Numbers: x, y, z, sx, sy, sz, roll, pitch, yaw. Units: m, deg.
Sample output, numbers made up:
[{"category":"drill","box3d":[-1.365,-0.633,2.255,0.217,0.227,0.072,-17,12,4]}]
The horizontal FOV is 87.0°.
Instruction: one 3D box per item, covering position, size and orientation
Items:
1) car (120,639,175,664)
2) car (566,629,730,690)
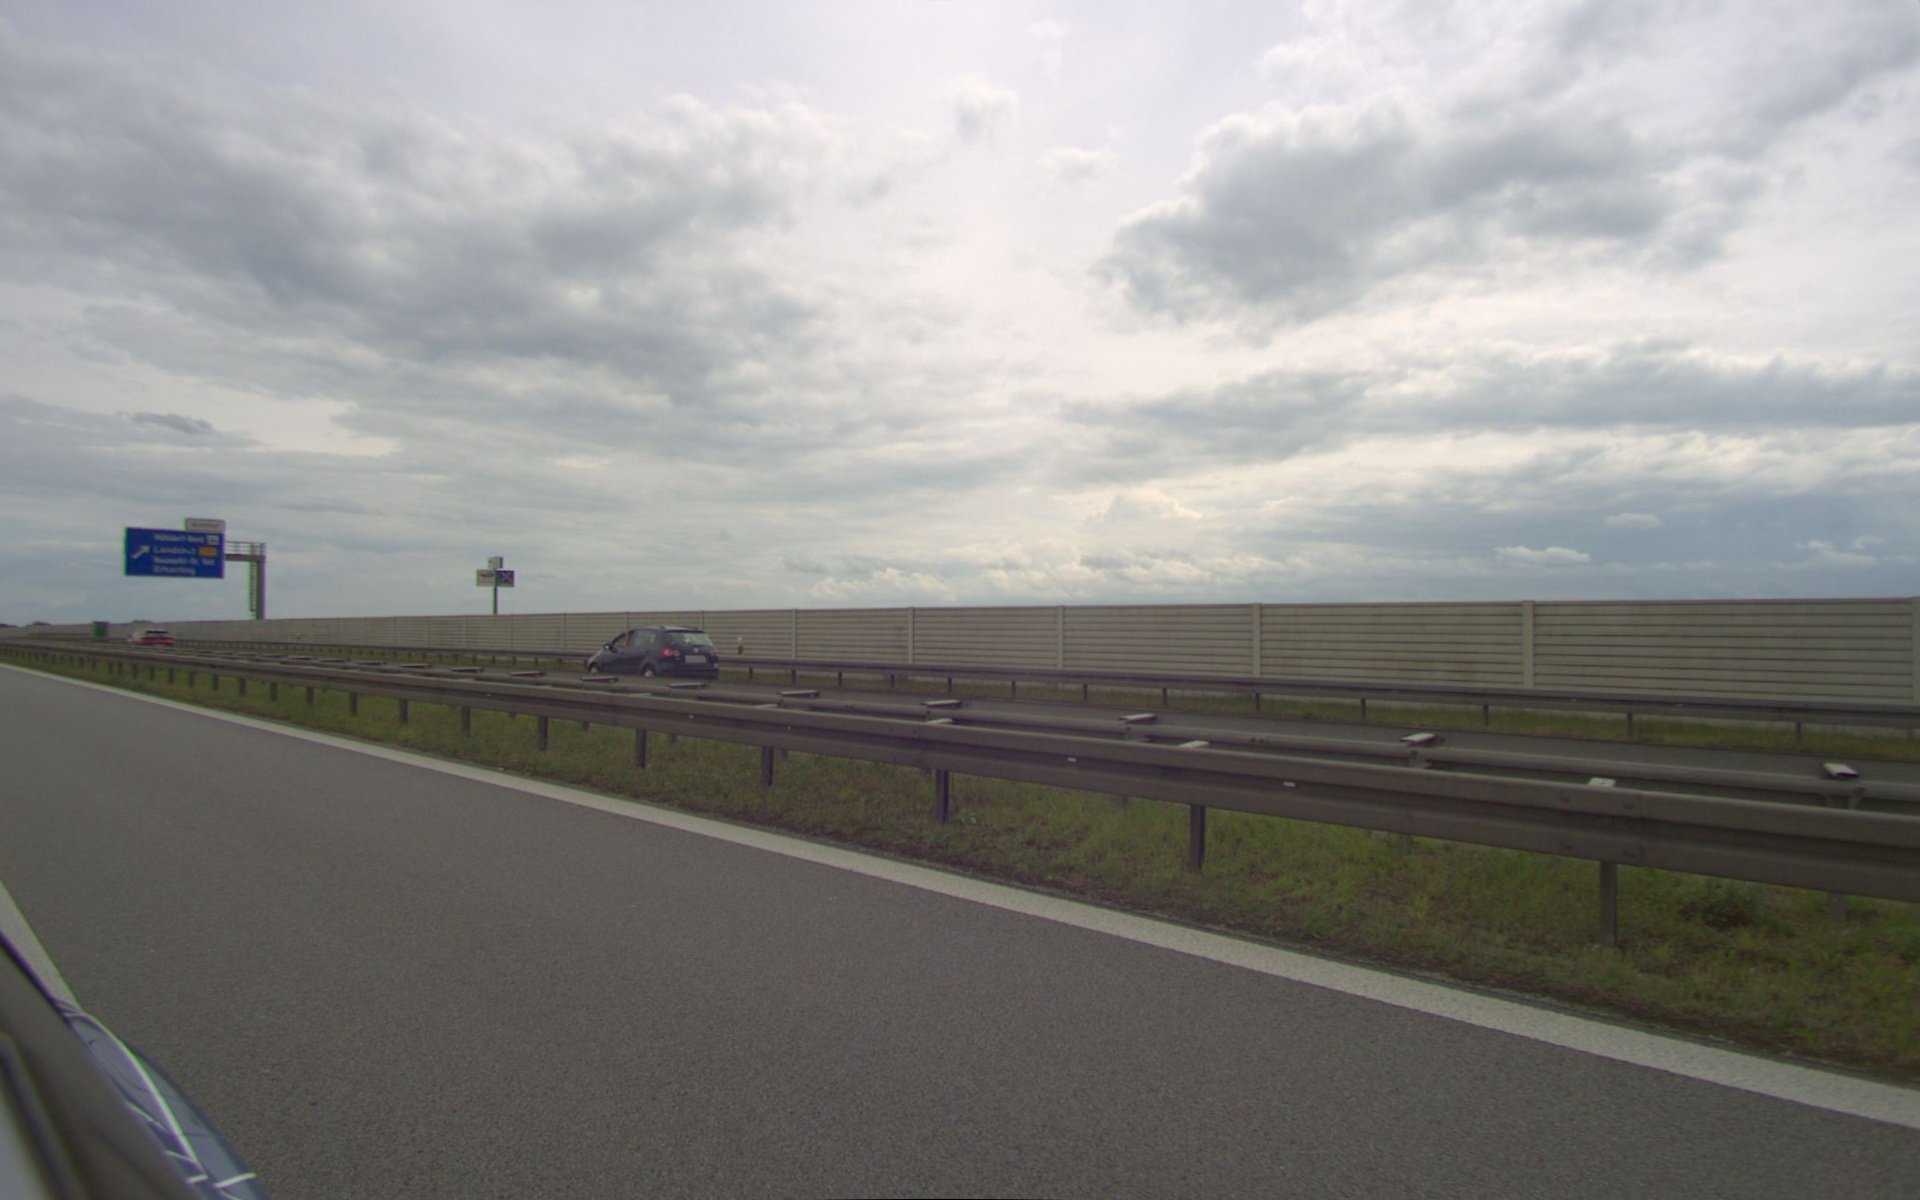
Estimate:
[{"category":"car","box3d":[-49.189,3.106,61.223,4.874,1.414,1.798,-2,-3,42]},{"category":"car","box3d":[-7.698,1.424,24.741,4.607,1.339,1.641,-1,-6,42]}]
